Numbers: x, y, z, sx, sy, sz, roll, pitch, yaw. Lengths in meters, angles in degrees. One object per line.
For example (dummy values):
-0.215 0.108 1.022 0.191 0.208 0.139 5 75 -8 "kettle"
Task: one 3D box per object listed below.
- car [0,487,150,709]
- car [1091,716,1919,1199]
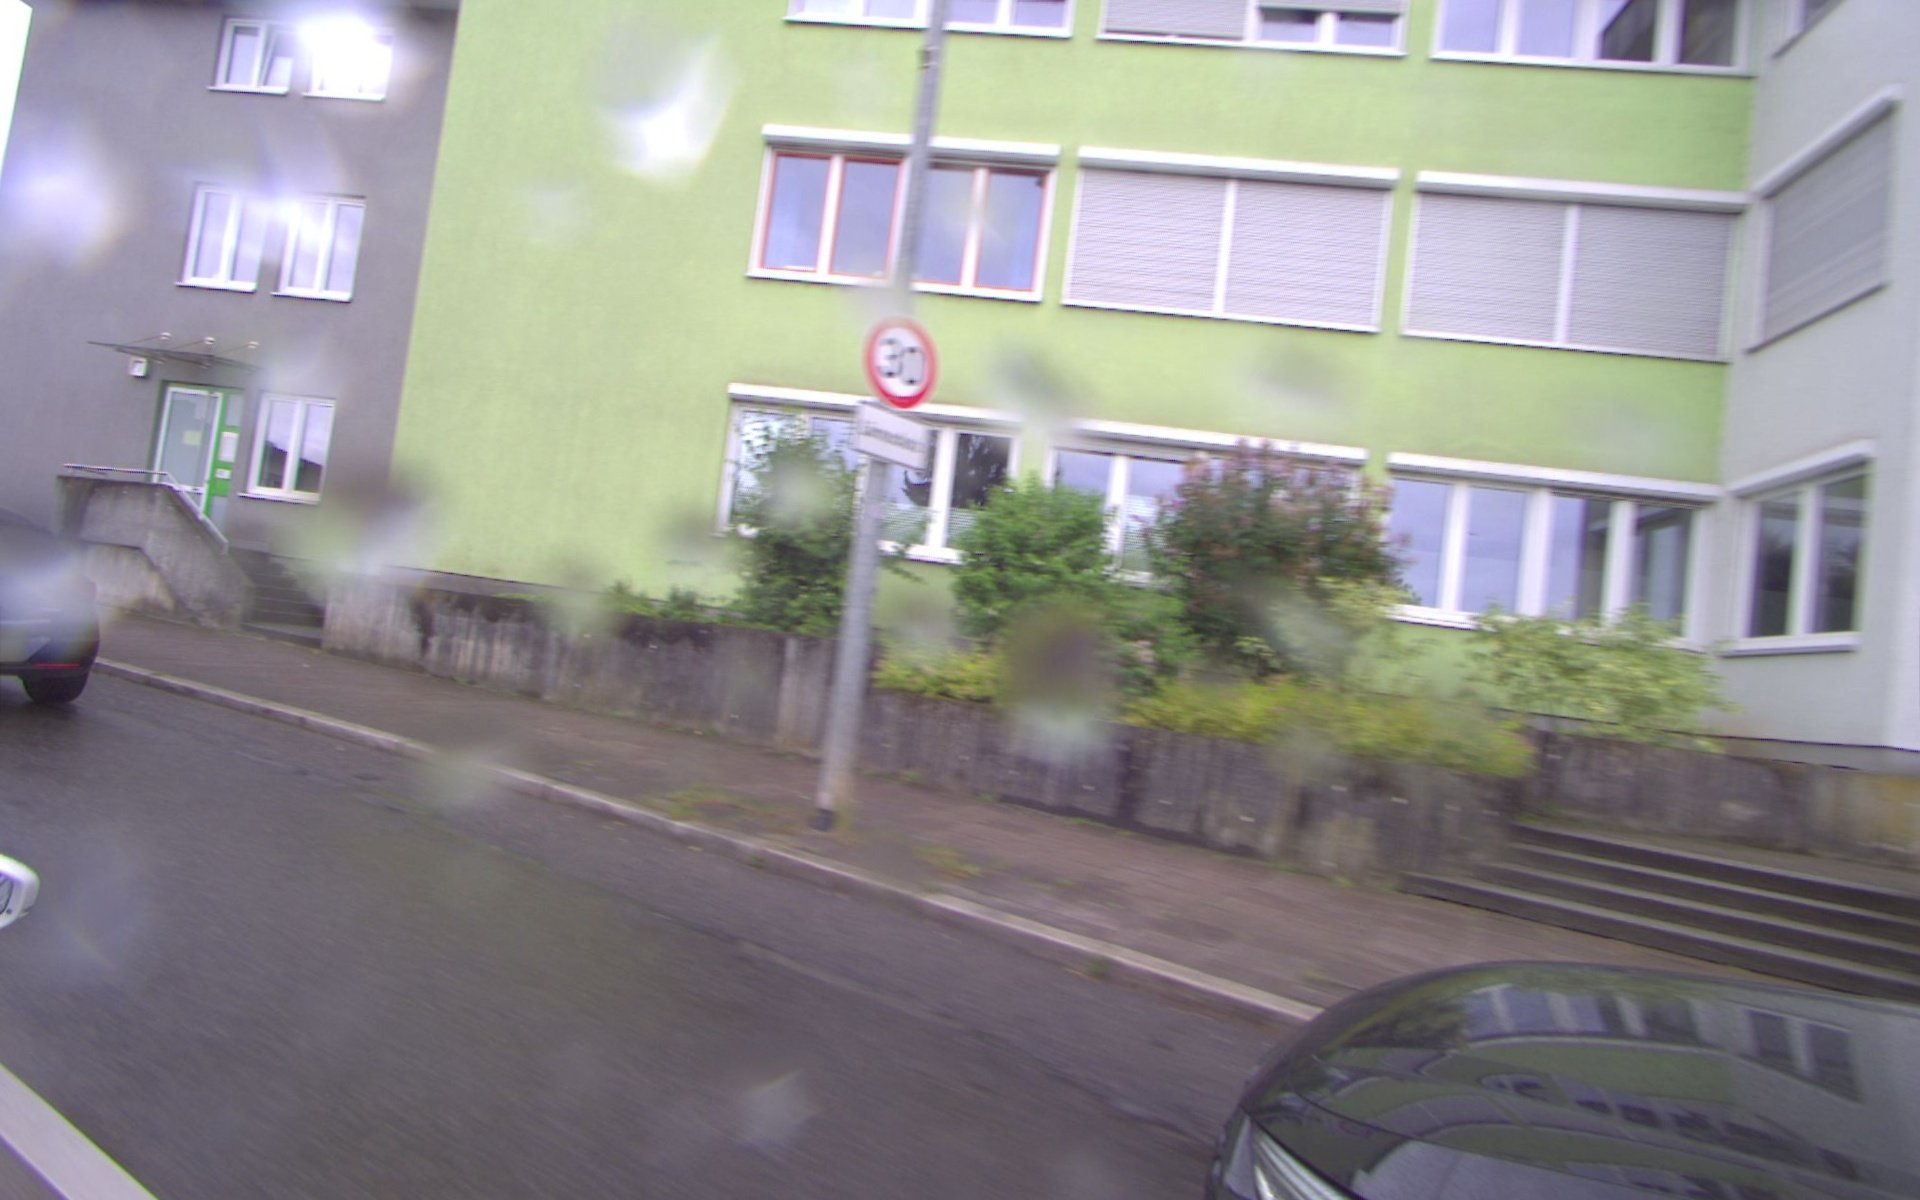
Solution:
-8.241 -0.195 7.522 3.929 1.465 1.763 5 -4 26 "car"
2.629 1.141 0.987 4.662 1.439 1.871 4 -5 32 "car"
